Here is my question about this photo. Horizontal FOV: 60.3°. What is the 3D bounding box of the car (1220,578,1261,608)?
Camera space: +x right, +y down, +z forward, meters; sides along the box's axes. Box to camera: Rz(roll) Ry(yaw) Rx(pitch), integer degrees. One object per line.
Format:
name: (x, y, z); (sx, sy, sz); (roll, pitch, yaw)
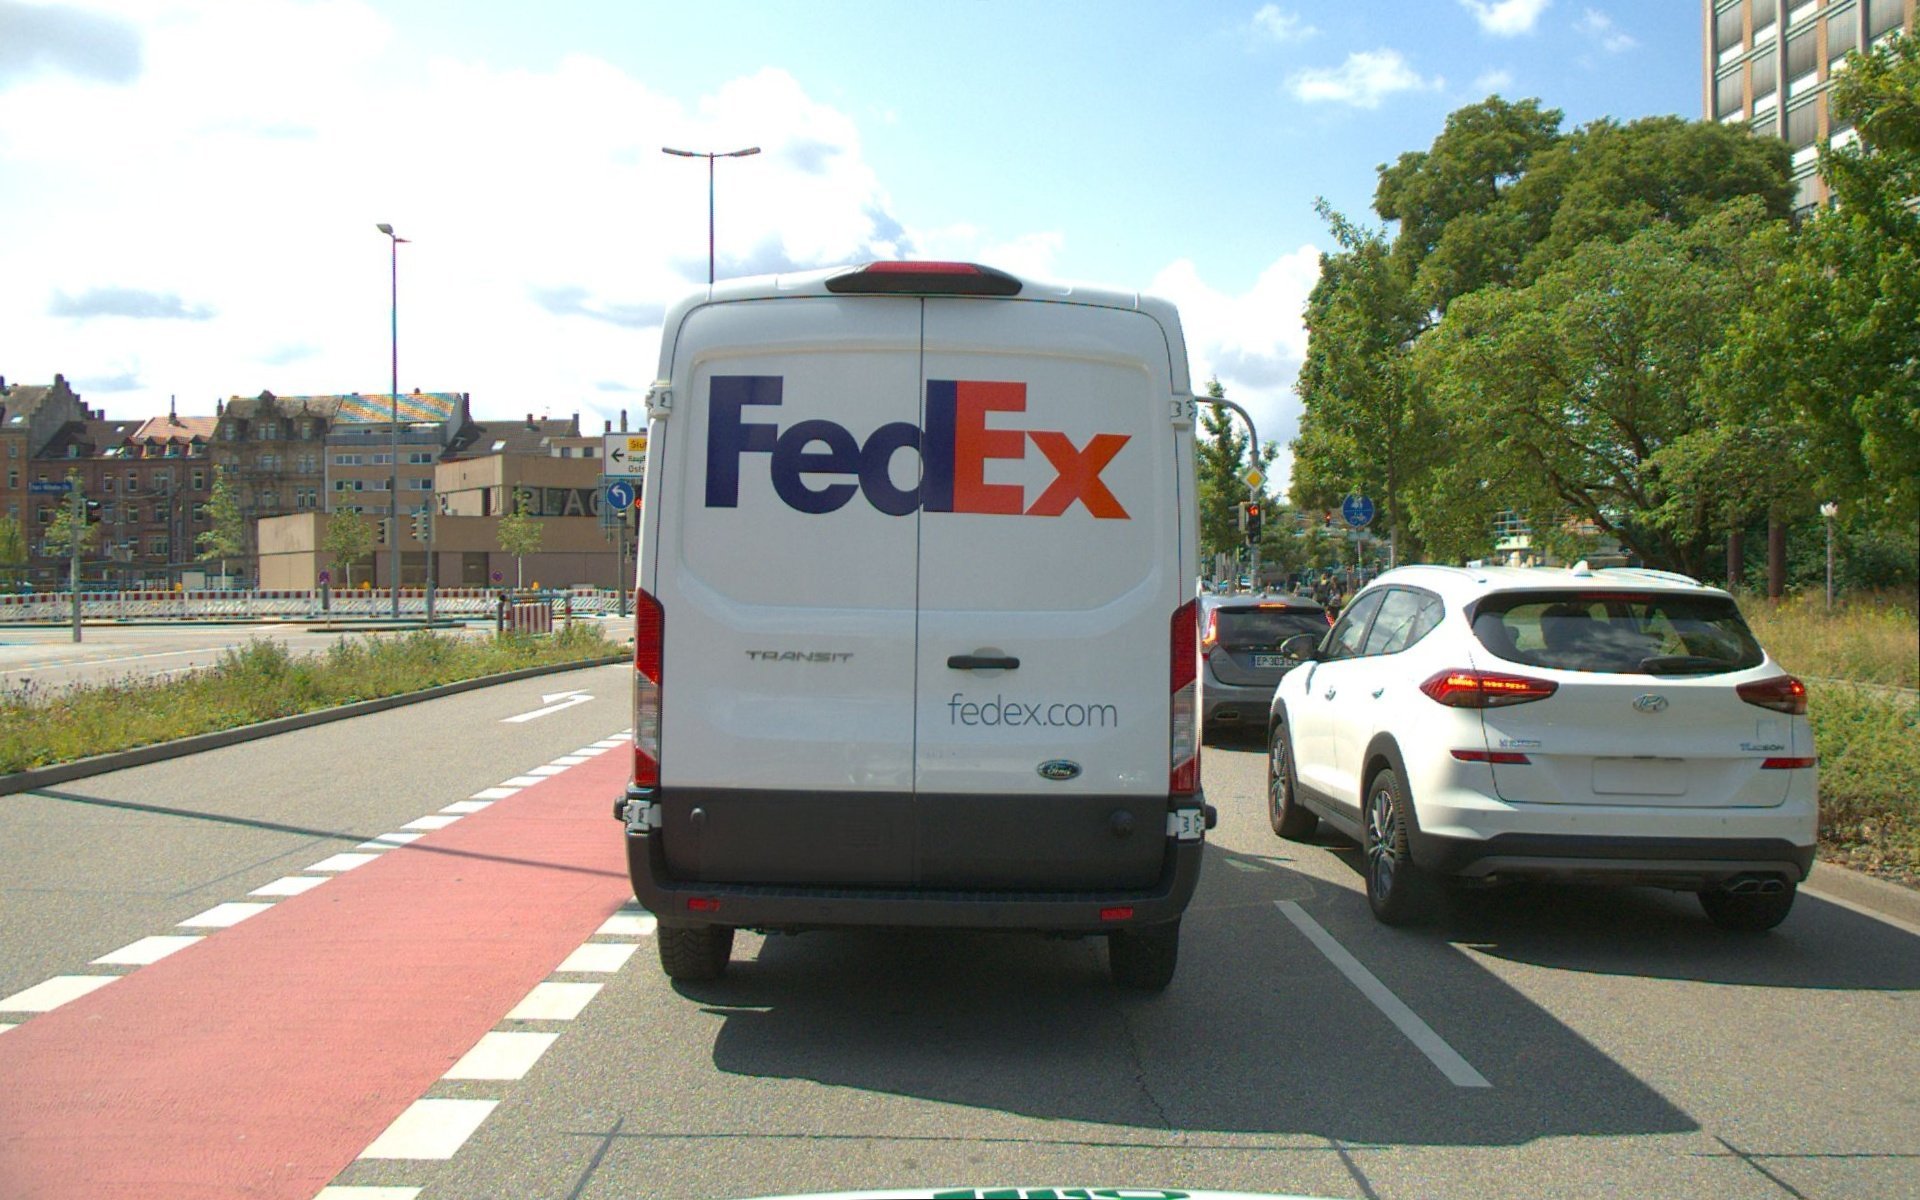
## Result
car: (17.532, -0.441, 103.175); (1.951, 1.825, 4.374); (0, 0, 17)

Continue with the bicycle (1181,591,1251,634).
bicycle: (7.900, 0.387, 51.049); (2.026, 1.312, 0.603); (0, 0, -9)

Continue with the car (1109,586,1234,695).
car: (3.027, 0.537, 24.167); (1.454, 1.453, 3.433); (0, 1, 1)

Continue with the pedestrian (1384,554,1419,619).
pedestrian: (14.323, -0.435, 53.706); (0.832, 2.094, 0.737); (0, 1, -18)

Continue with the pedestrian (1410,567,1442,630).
pedestrian: (15.244, -0.050, 54.070); (0.827, 2.049, 0.741); (0, 0, -1)

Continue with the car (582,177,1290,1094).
car: (-0.193, 0.091, 7.779); (2.098, 2.699, 5.701); (0, 0, -3)

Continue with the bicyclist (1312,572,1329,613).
bicyclist: (13.313, -0.275, 61.076); (0.538, 1.500, 0.972); (0, 1, 9)

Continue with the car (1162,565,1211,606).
car: (11.760, -0.740, 85.654); (2.048, 2.049, 4.647); (0, 0, 14)

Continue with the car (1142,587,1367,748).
car: (2.971, 0.615, 17.418); (1.760, 1.486, 3.839); (0, 1, 1)

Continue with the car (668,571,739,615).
car: (-12.225, -0.324, 79.040); (1.951, 2.049, 4.003); (0, 0, 14)

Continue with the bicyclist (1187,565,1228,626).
bicyclist: (7.626, -0.143, 50.997); (1.099, 1.877, 0.592); (0, 1, -11)

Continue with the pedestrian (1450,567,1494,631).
pedestrian: (12.707, -0.033, 41.071); (0.827, 1.565, 0.835); (0, 1, -1)

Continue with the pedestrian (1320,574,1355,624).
pedestrian: (10.968, -0.035, 48.037); (0.827, 1.413, 0.741); (0, 1, -1)

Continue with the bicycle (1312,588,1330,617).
bicycle: (13.319, 0.074, 61.072); (0.534, 1.048, 1.928); (0, 1, 9)

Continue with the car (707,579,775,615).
car: (-10.283, -0.137, 77.796); (1.860, 1.613, 4.003); (0, 0, 13)

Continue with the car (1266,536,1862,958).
car: (2.826, 0.574, 8.734); (1.760, 1.717, 4.001); (0, 1, 1)
